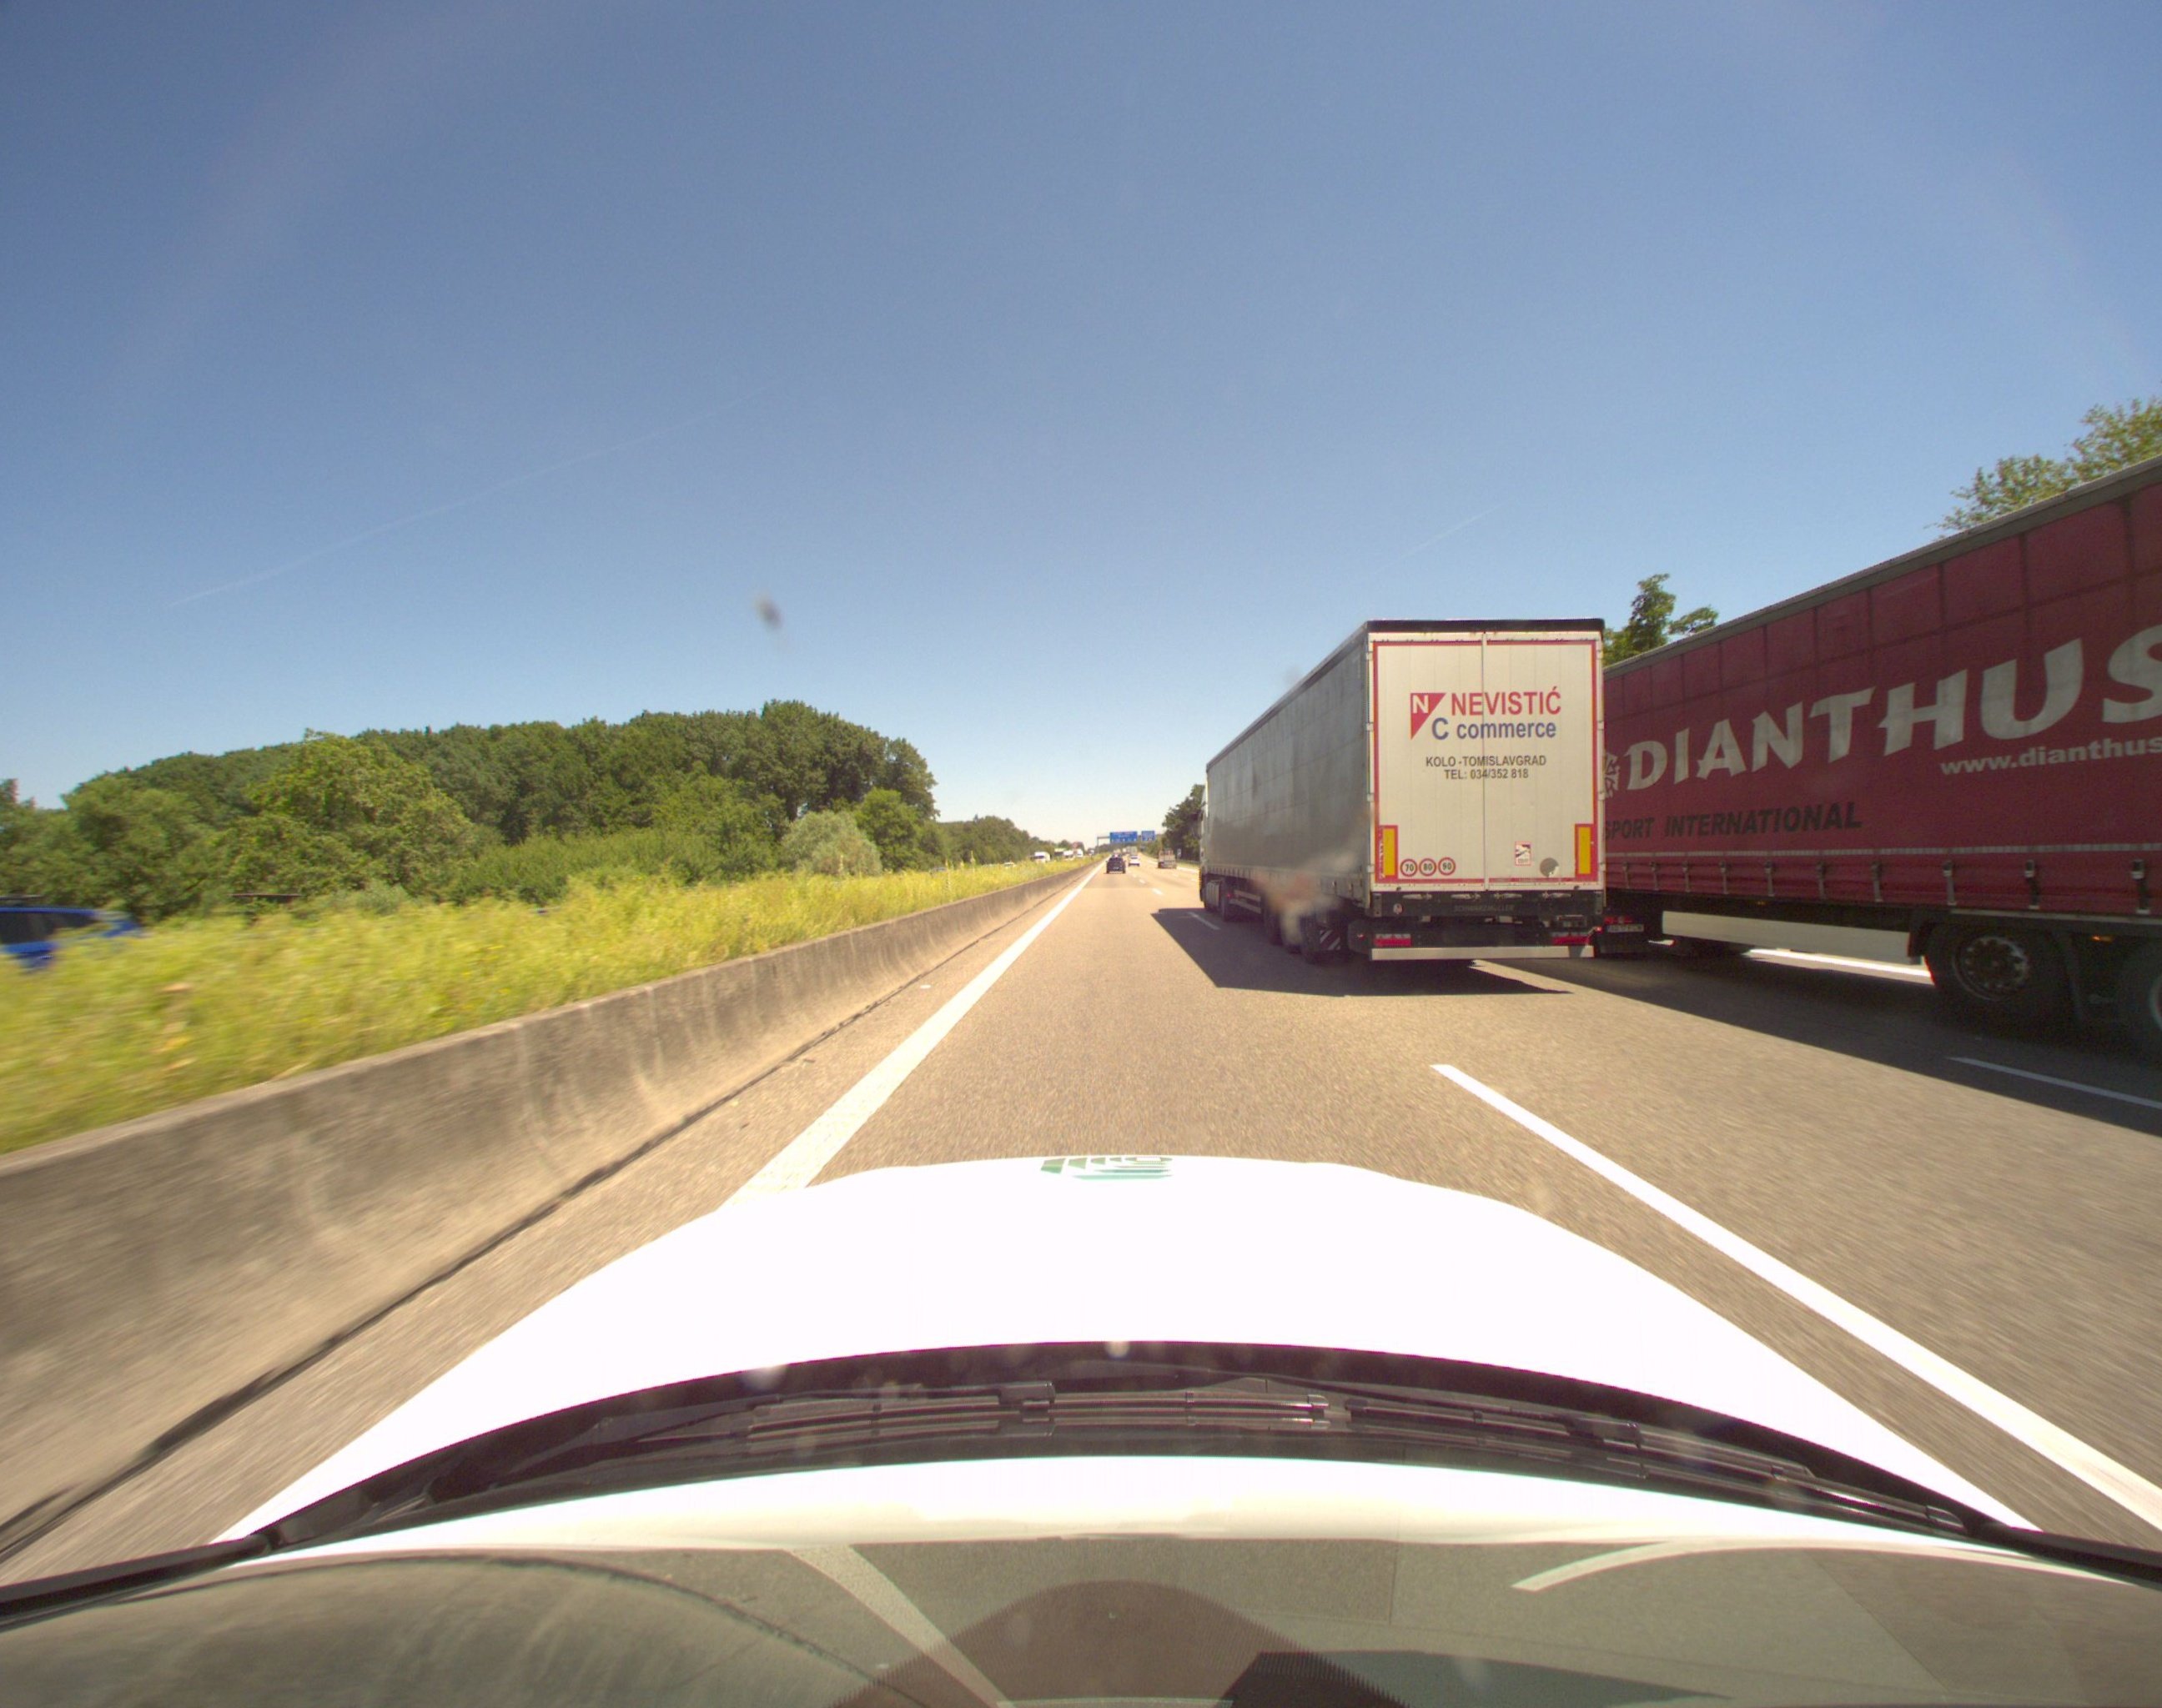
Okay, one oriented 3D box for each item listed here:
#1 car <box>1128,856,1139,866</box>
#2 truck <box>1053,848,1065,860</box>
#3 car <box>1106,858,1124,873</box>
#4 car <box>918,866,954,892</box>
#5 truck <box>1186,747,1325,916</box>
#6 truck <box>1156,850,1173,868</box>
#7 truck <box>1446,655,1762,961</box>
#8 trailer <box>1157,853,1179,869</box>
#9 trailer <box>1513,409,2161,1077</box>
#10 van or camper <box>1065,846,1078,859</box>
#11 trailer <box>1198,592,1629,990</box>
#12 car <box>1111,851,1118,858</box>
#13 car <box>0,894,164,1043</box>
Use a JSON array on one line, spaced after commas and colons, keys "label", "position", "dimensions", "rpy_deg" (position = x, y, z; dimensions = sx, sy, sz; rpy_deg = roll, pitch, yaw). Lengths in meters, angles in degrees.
[{"label": "car", "position": [8.764, 1.138, 136.057], "dimensions": [1.733, 1.486, 4.002], "rpy_deg": [-1, 0, 2]}, {"label": "truck", "position": [-5.790, -0.098, 211.850], "dimensions": [2.597, 3.008, 6.975], "rpy_deg": [-2, 0, 2]}, {"label": "car", "position": [3.526, 1.169, 84.785], "dimensions": [1.654, 1.549, 3.783], "rpy_deg": [-1, -1, 1]}, {"label": "car", "position": [-10.985, 1.869, 61.917], "dimensions": [1.926, 1.748, 4.487], "rpy_deg": [-3, 0, -1]}, {"label": "truck", "position": [4.699, -0.521, 23.174], "dimensions": [2.690, 4.094, 6.455], "rpy_deg": [-1, -1, 2]}, {"label": "truck", "position": [11.756, 0.652, 114.659], "dimensions": [1.986, 2.373, 4.645], "rpy_deg": [-1, 0, 1]}, {"label": "truck", "position": [8.321, -0.623, 13.686], "dimensions": [2.320, 4.231, 4.675], "rpy_deg": [-1, -1, 2]}, {"label": "trailer", "position": [11.654, 0.855, 109.306], "dimensions": [2.412, 2.013, 6.035], "rpy_deg": [-1, 0, 1]}, {"label": "trailer", "position": [8.128, -0.686, 8.026], "dimensions": [2.307, 4.241, 10.658], "rpy_deg": [-1, -1, 2]}, {"label": "van or camper", "position": [-2.286, -0.302, 199.498], "dimensions": [2.497, 3.155, 7.540], "rpy_deg": [-1, 0, 3]}, {"label": "trailer", "position": [4.483, -0.572, 15.781], "dimensions": [2.697, 4.068, 14.751], "rpy_deg": [-1, -1, 2]}, {"label": "car", "position": [10.138, 0.218, 243.743], "dimensions": [1.986, 2.013, 4.001], "rpy_deg": [-3, 0, 2]}, {"label": "car", "position": [-13.428, 1.410, 8.956], "dimensions": [1.817, 1.653, 4.172], "rpy_deg": [-4, 0, 2]}]
